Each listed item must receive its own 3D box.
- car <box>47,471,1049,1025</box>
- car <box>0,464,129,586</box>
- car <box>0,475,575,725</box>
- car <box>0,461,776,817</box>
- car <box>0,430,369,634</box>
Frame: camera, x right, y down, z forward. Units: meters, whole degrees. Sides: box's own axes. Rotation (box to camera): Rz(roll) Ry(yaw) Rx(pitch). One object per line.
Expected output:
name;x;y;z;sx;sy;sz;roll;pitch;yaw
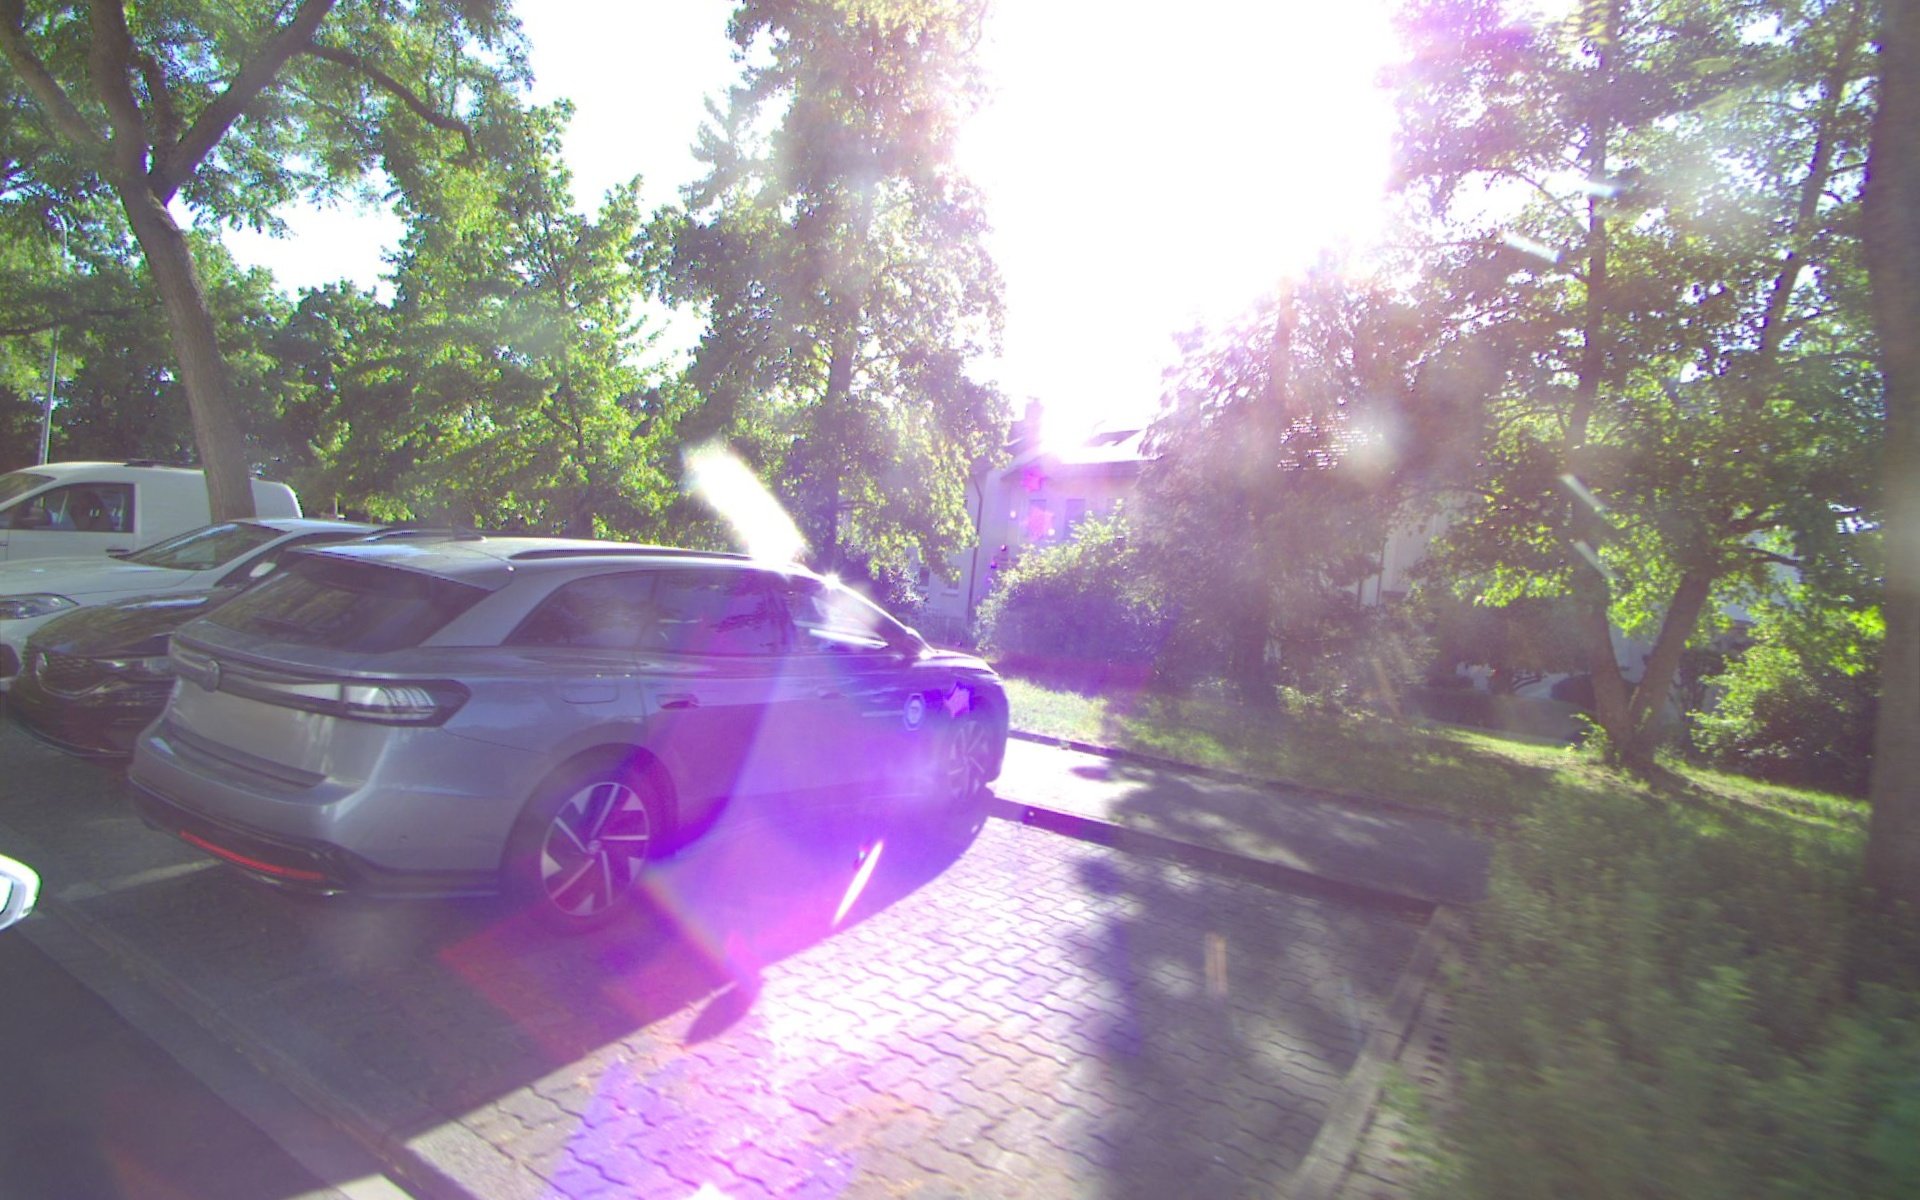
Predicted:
car;-1.502;0.509;5.533;1.978;1.568;4.787;7;1;30
car;-15.814;-1.311;14.993;1.968;1.746;4.884;7;2;33
car;-5.770;-0.032;8.393;1.966;1.537;4.447;7;2;30
car;-3.502;0.247;6.908;1.709;1.591;4.429;7;1;33
car;-9.605;-0.722;11.146;1.964;1.949;4.893;7;1;26
